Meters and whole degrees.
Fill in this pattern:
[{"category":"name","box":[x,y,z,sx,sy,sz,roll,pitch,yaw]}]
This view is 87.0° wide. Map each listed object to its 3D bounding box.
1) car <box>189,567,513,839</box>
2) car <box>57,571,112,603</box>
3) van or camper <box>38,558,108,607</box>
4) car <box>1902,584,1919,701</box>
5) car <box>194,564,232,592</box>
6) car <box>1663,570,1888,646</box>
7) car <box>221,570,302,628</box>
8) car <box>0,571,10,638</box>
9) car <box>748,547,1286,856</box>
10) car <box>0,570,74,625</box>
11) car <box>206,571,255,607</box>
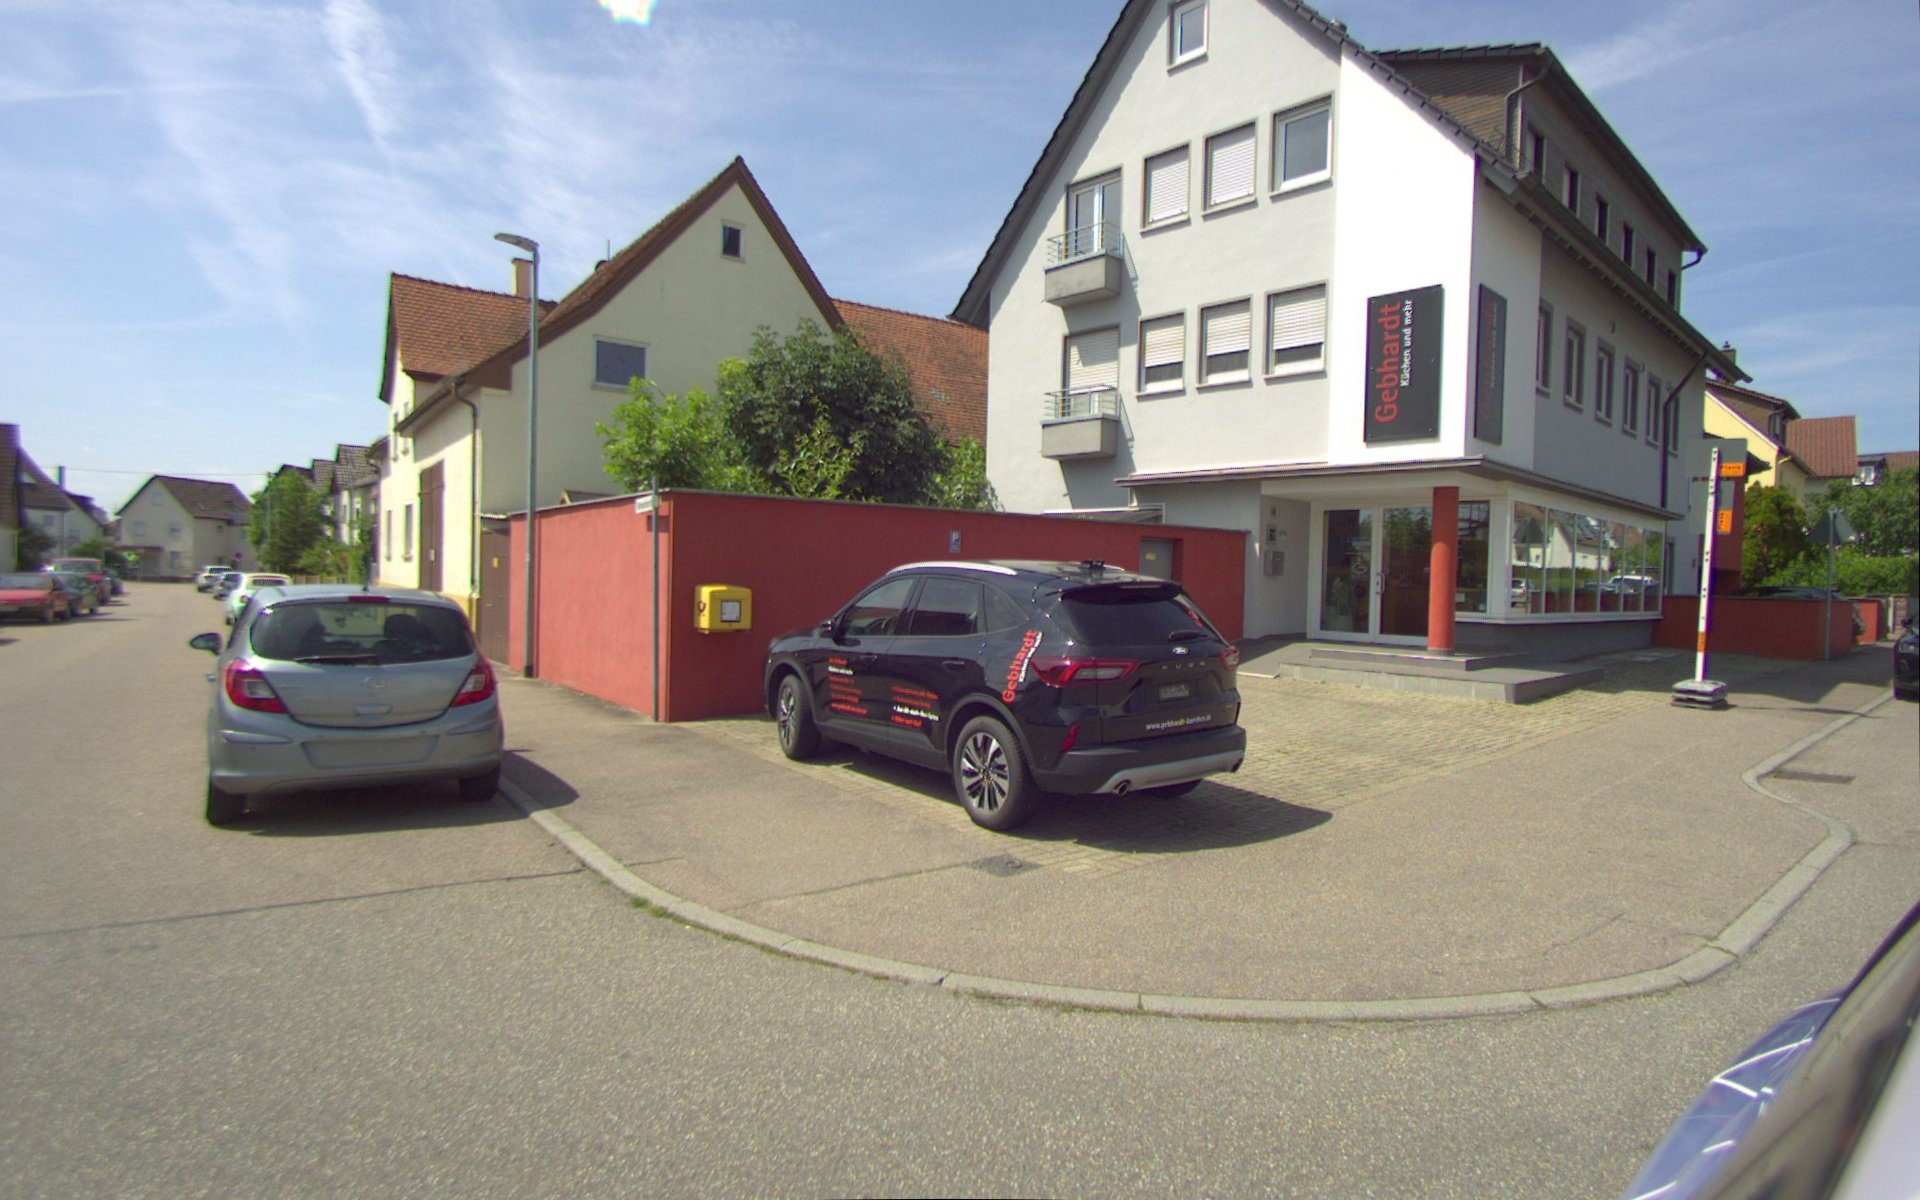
[{"category":"car","box":[-4.786,0.535,7.783,1.662,1.523,4.000,1,1,-36]},{"category":"car","box":[-40.146,-0.638,46.475,1.672,1.408,3.997,-1,2,-38]},{"category":"van or camper","box":[-36.931,-0.757,42.240,1.840,1.900,4.399,0,2,-37]},{"category":"car","box":[14.796,0.541,14.307,4.330,1.546,1.764,-1,1,-42]},{"category":"car","box":[-48.986,-1.439,66.355,1.814,1.769,3.995,-1,2,-40]},{"category":"car","box":[21.675,0.268,27.046,1.845,1.690,4.370,-1,-4,-42]},{"category":"car","box":[-19.759,-0.051,28.650,1.726,1.499,4.001,2,0,-35]},{"category":"car","box":[-20.231,0.129,19.822,1.670,1.408,4.002,0,2,-33]},{"category":"car","box":[0.114,0.497,7.753,1.813,1.674,4.307,0,1,-36]},{"category":"car","box":[-26.027,-0.113,28.021,1.670,1.408,4.002,0,2,-33]},{"category":"car","box":[-38.333,-0.601,53.160,1.814,1.769,3.995,-1,2,-40]}]
